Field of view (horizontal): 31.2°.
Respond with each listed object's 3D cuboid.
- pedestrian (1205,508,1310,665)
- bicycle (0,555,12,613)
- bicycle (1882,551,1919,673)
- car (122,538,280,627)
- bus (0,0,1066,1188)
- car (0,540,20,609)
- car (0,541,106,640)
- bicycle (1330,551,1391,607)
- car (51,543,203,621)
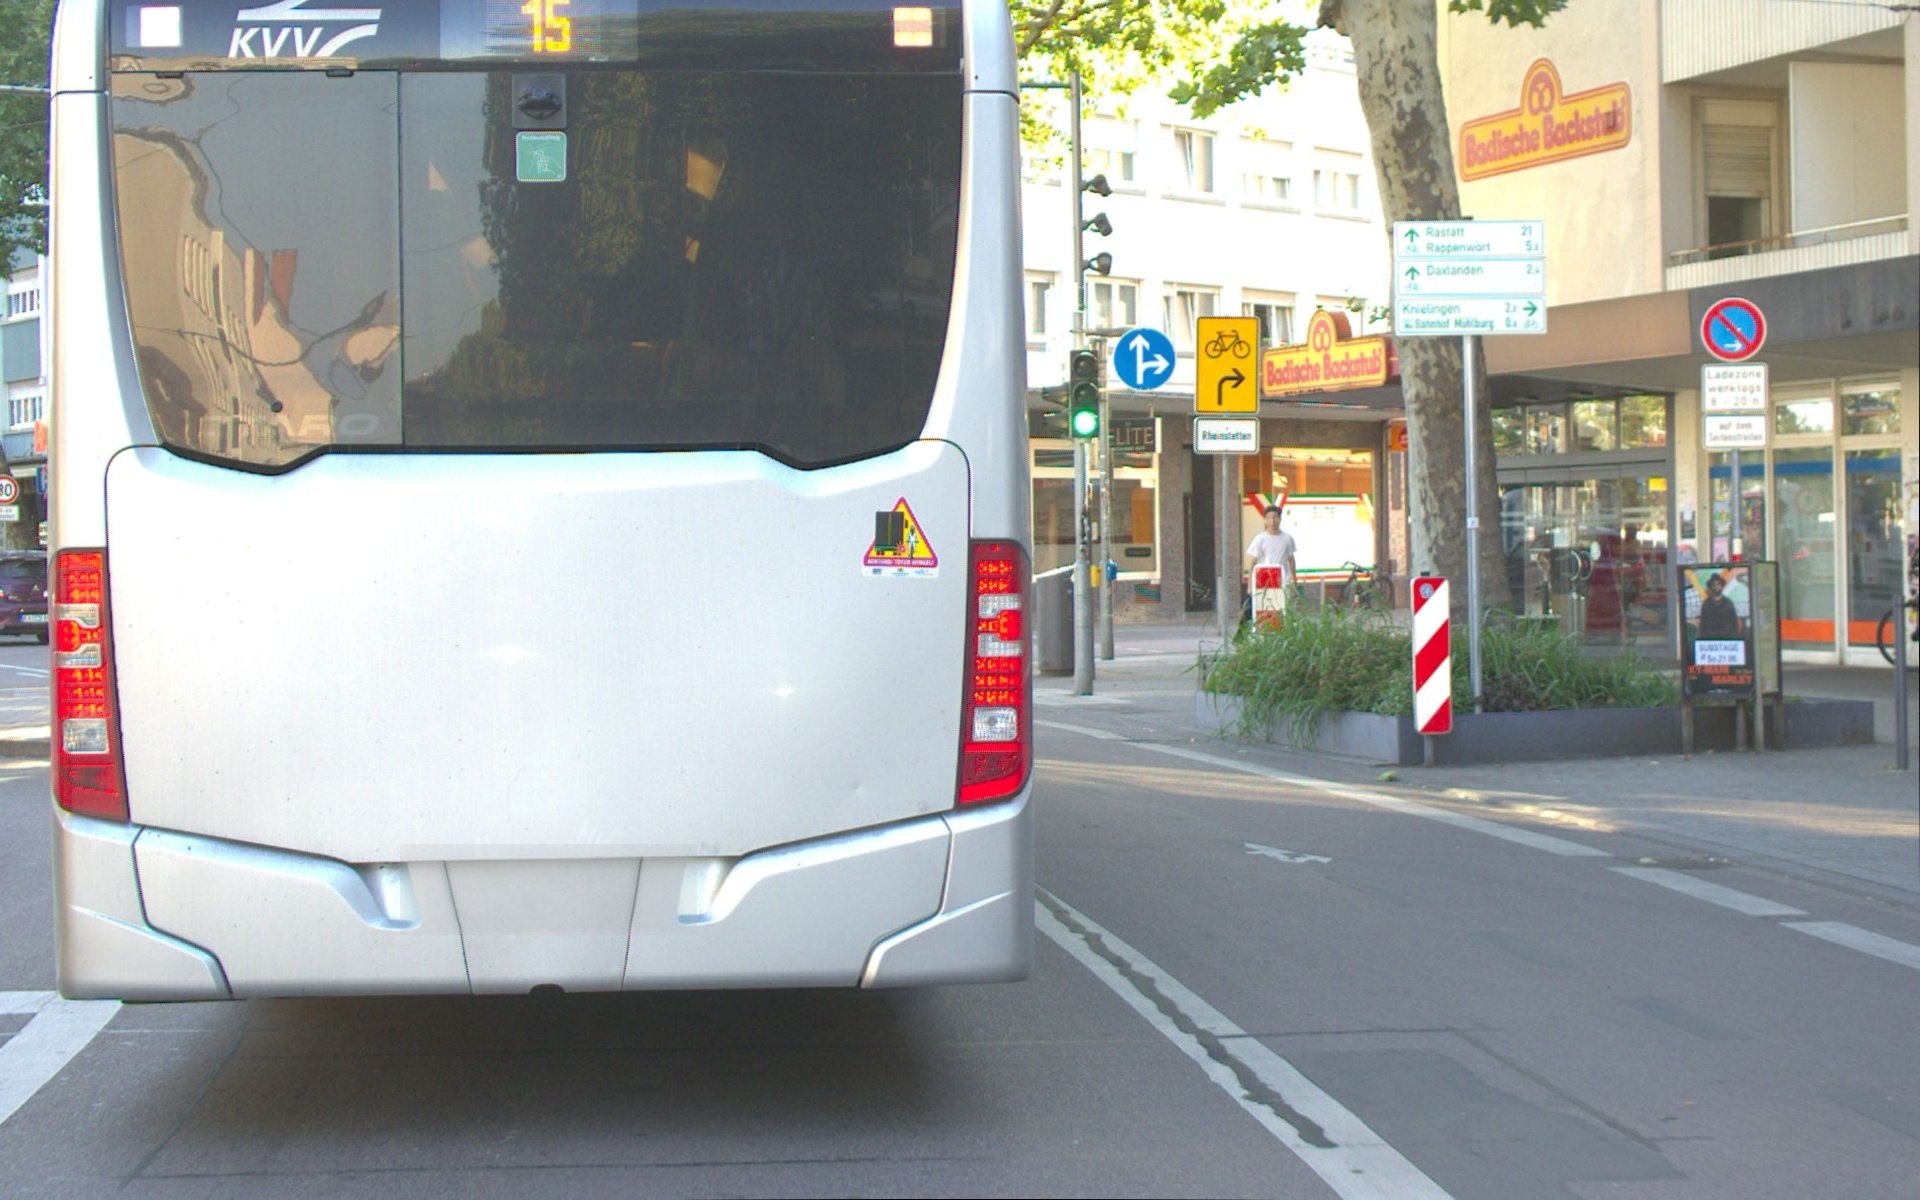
[{"bbox_3d":[3.326,-0.161,38.447,0.835,1.706,0.794,-3,2,-22],"label":"pedestrian"},{"bbox_3d":[-20.208,-0.341,72.077,0.507,1.207,2.093,-1,1,-19],"label":"bicycle"},{"bbox_3d":[9.013,0.111,31.290,0.437,1.089,1.462,-3,2,-17],"label":"bicycle"},{"bbox_3d":[-14.266,-0.357,64.536,1.662,1.511,3.412,-5,4,-34],"label":"car"},{"bbox_3d":[-1.493,-0.199,13.492,2.657,3.088,10.218,-1,1,-5],"label":"bus"},{"bbox_3d":[-22.045,-0.529,75.257,1.662,1.463,3.412,-5,4,-36],"label":"car"},{"bbox_3d":[-14.704,-0.172,53.533,1.756,1.459,4.000,-1,1,-29],"label":"car"},{"bbox_3d":[7.623,-0.401,65.368,0.294,1.037,1.714,-3,-1,37],"label":"bicycle"},{"bbox_3d":[-16.482,-0.378,67.952,1.662,1.390,3.412,-5,4,-36],"label":"car"}]
